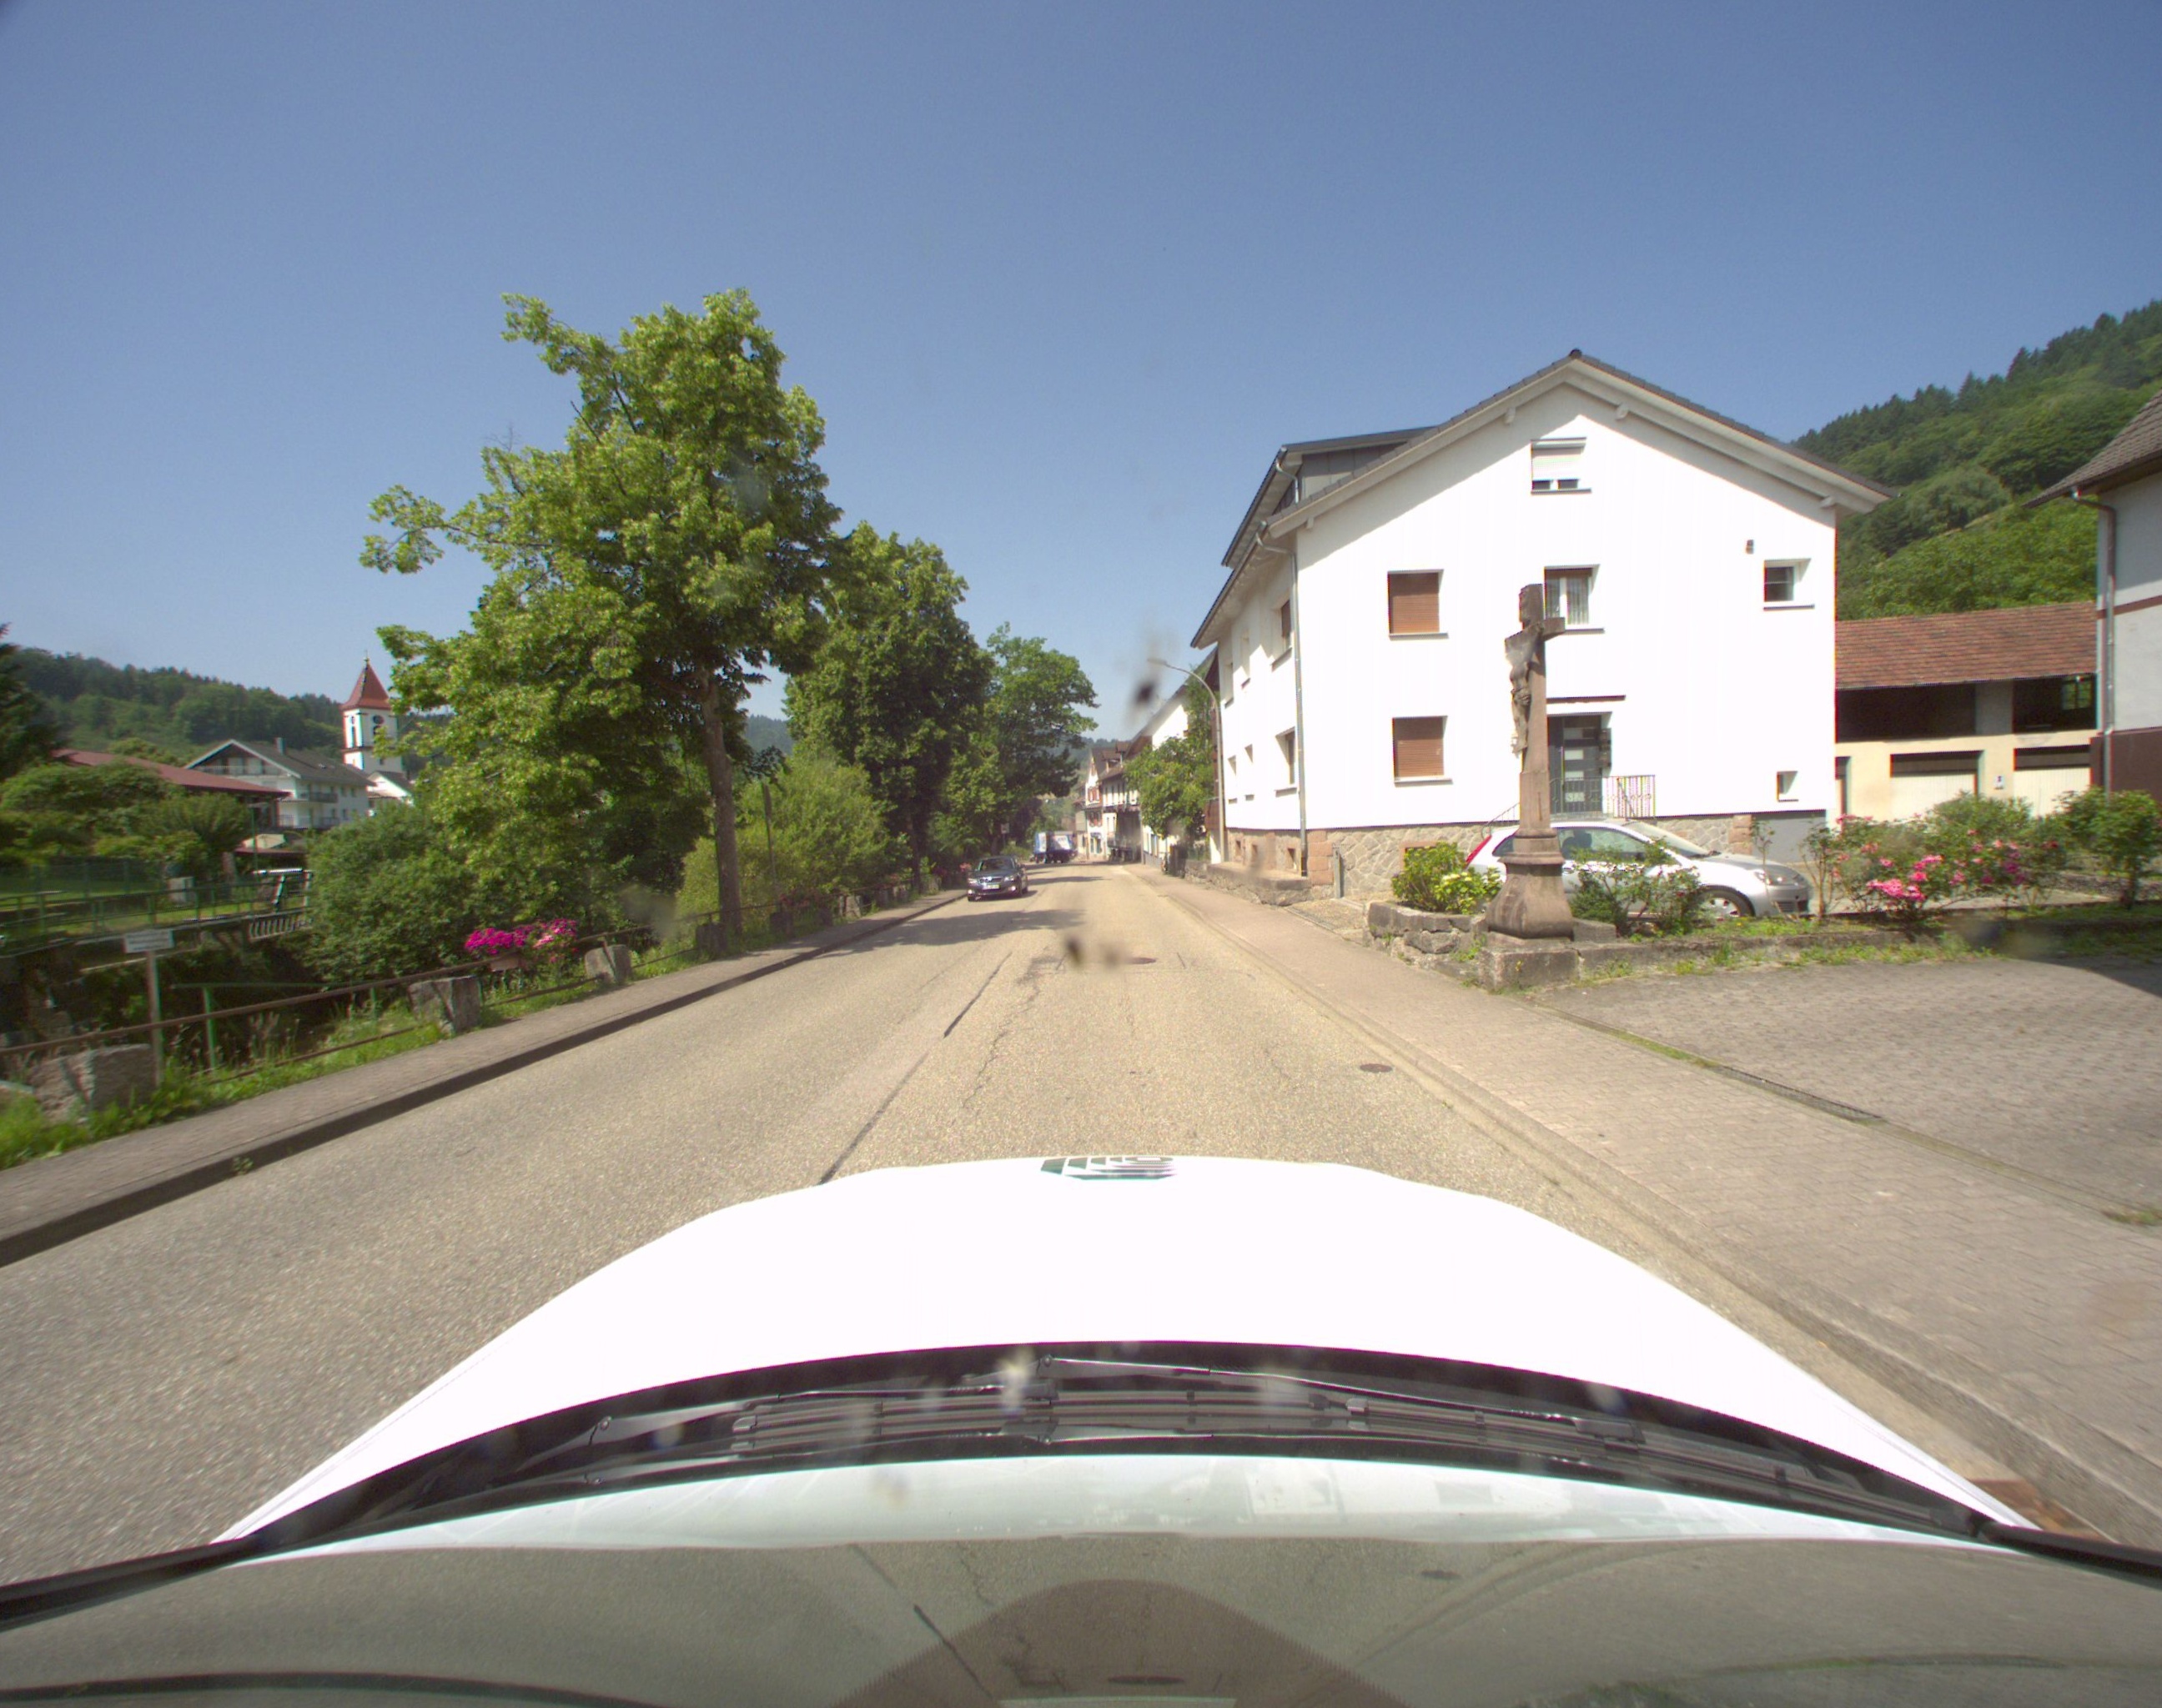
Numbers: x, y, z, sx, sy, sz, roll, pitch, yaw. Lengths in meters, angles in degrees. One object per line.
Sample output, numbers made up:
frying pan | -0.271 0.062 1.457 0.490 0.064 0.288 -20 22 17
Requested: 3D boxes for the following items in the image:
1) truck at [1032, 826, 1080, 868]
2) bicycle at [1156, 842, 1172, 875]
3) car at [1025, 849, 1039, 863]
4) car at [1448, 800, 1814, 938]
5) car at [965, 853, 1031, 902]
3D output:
truck | -2.797 -0.665 87.857 3.367 3.782 8.401 -5 -1 -13
bicycle | 3.791 0.180 37.261 0.424 1.396 2.278 -6 1 2
car | -7.428 0.344 122.813 1.772 1.734 3.990 -6 -1 -7
car | 7.148 0.164 10.832 1.620 1.427 3.730 -8 5 -44
car | -2.730 0.736 27.615 1.660 1.418 4.088 -4 0 1
